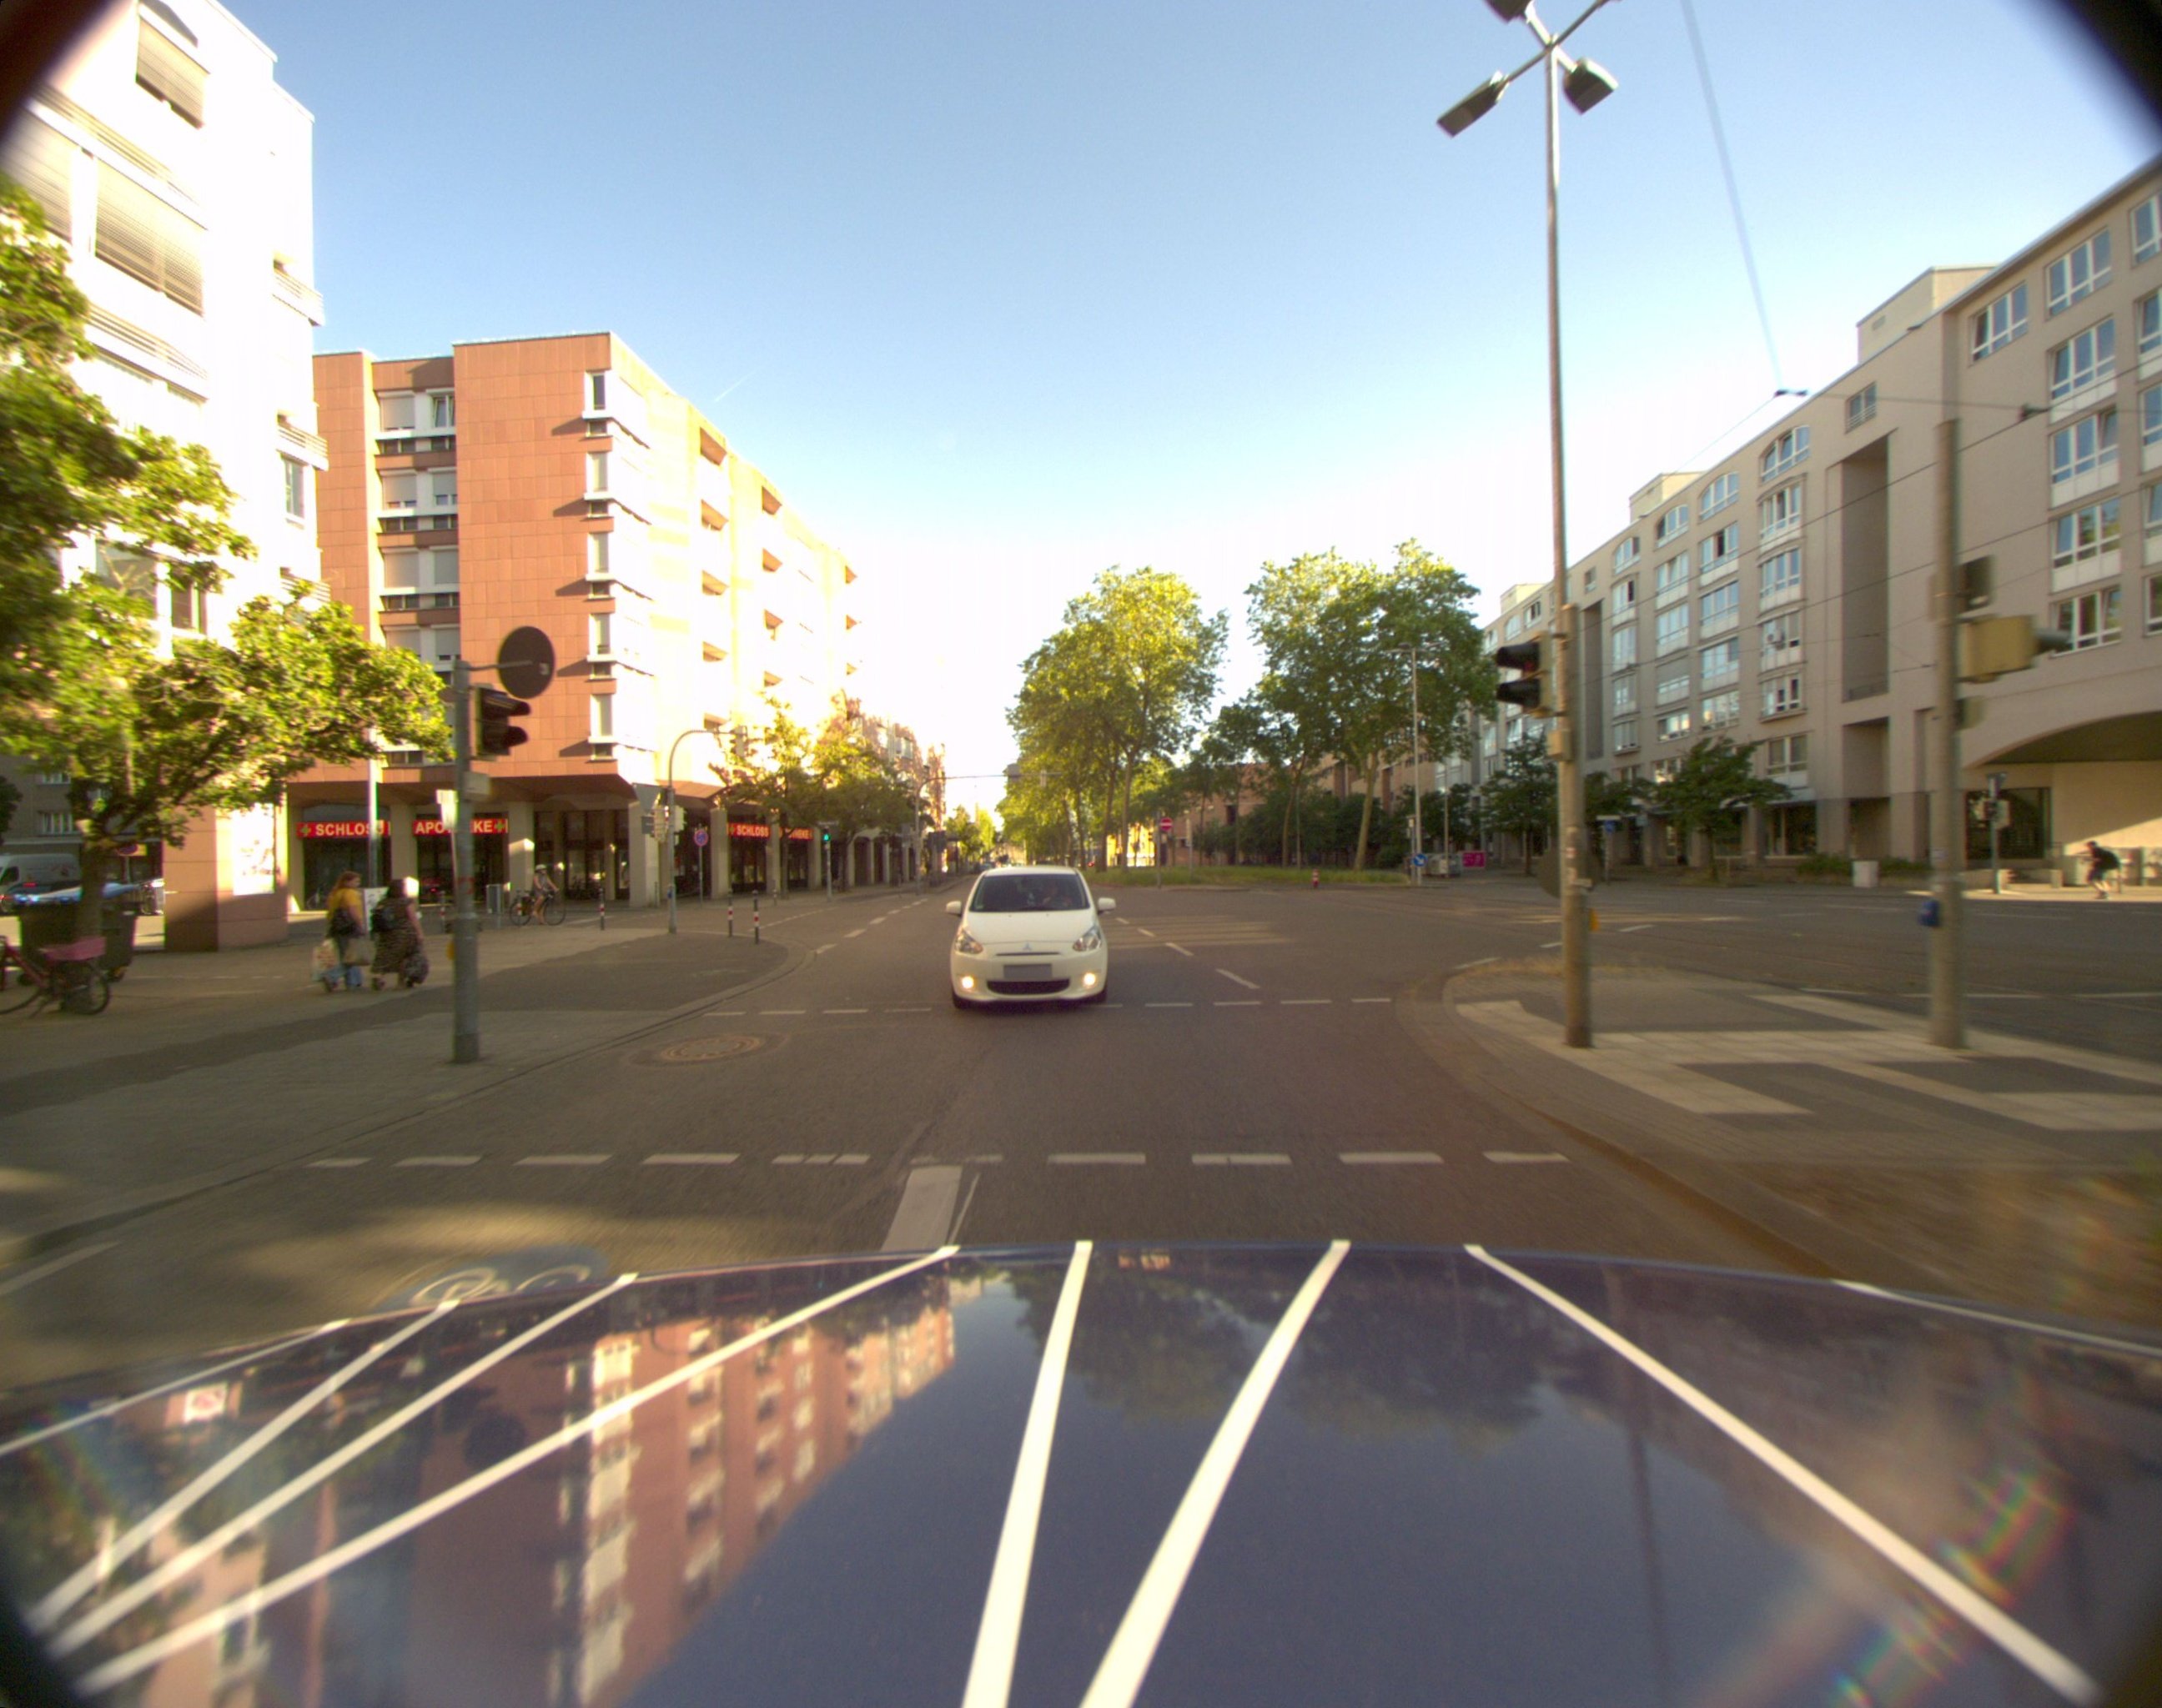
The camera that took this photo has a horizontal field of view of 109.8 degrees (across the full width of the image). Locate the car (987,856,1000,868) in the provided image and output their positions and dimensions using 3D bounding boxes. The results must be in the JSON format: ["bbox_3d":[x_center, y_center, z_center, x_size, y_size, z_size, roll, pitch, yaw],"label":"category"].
[{"bbox_3d":[-14.388,1.304,124.366,2.044,1.932,5.194,1,0,-7],"label":"car"}]

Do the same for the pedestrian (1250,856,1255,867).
[{"bbox_3d":[24.871,1.069,110.204,0.612,1.670,0.596,-1,0,-6],"label":"pedestrian"}]

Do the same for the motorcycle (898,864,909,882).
[{"bbox_3d":[-13.857,1.448,59.357,0.489,1.364,2.089,-1,0,-5],"label":"motorcycle"}]

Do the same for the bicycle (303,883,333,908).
[{"bbox_3d":[-31.688,1.711,31.566,1.314,1.014,0.613,-1,1,34],"label":"bicycle"}]

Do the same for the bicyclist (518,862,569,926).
[{"bbox_3d":[-15.137,1.114,21.429,0.827,1.760,0.788,-1,1,3],"label":"bicyclist"}]

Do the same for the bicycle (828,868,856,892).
[{"bbox_3d":[-12.742,1.374,40.557,0.623,1.218,1.927,-1,0,7],"label":"bicycle"}]

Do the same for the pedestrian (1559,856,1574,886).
[{"bbox_3d":[24.115,0.830,37.741,0.533,1.495,0.621,-1,1,41],"label":"pedestrian"}]

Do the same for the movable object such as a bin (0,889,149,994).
[{"bbox_3d":[-15.278,1.293,11.459,1.413,1.473,0.872,-1,1,6],"label":"movable object such as a bin"}]

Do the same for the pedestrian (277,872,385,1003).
[{"bbox_3d":[-10.427,1.132,10.593,0.702,1.723,0.767,-1,1,-6],"label":"pedestrian"}]

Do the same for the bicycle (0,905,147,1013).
[{"bbox_3d":[-12.533,1.259,9.253,1.571,1.220,0.577,-1,1,1],"label":"bicycle"}]

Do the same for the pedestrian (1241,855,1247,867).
[{"bbox_3d":[23.539,0.976,109.757,0.666,1.712,0.796,-1,0,-6],"label":"pedestrian"}]

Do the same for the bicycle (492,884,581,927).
[{"bbox_3d":[-15.352,1.443,21.446,1.919,1.106,0.803,-1,1,3],"label":"bicycle"}]

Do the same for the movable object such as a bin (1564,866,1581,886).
[{"bbox_3d":[23.978,1.088,37.104,0.511,0.948,0.540,-1,0,8],"label":"movable object such as a bin"}]

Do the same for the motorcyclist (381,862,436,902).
[{"bbox_3d":[-29.896,1.227,33.797,1.174,1.679,1.334,-2,1,-2],"label":"motorcyclist"}]

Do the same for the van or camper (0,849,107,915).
[{"bbox_3d":[-47.456,1.197,33.748,2.361,2.751,6.440,-1,0,-24],"label":"van or camper"}]

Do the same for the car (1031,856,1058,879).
[{"bbox_3d":[-2.774,1.001,57.547,1.825,1.630,3.998,-1,0,-5],"label":"car"}]

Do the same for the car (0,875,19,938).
[{"bbox_3d":[-31.496,1.477,20.188,4.194,1.712,1.802,-1,1,3],"label":"car"}]

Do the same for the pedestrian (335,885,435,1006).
[{"bbox_3d":[-9.525,1.225,10.427,0.646,1.569,0.748,-1,1,-2],"label":"pedestrian"}]

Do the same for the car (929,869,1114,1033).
[{"bbox_3d":[-0.621,0.987,9.629,1.721,1.442,4.424,-3,0,-1],"label":"car"}]

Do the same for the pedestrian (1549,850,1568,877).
[{"bbox_3d":[29.358,0.562,46.727,0.708,1.629,0.789,-1,1,6],"label":"pedestrian"}]

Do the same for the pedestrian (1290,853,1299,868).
[{"bbox_3d":[26.075,0.783,92.918,0.826,1.820,0.901,-1,0,-4],"label":"pedestrian"}]

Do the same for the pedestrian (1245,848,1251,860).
[{"bbox_3d":[24.148,0.013,110.076,0.666,1.607,0.756,-1,0,-6],"label":"pedestrian"}]

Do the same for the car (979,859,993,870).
[{"bbox_3d":[-13.823,1.500,111.150,1.707,1.475,4.247,0,0,-2],"label":"car"}]

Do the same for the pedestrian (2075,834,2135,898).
[{"bbox_3d":[30.278,0.347,22.469,0.858,1.858,0.751,-1,1,-11],"label":"pedestrian"}]

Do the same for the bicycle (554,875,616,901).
[{"bbox_3d":[-22.507,1.530,34.484,2.448,1.088,0.593,-1,1,3],"label":"bicycle"}]

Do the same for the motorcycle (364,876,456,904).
[{"bbox_3d":[-29.782,1.587,33.778,2.826,1.172,1.349,-1,0,-1],"label":"motorcycle"}]

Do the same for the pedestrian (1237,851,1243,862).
[{"bbox_3d":[23.324,0.323,111.579,0.666,1.607,0.756,-1,0,-6],"label":"pedestrian"}]

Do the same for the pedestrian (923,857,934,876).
[{"bbox_3d":[-13.768,1.139,68.624,0.783,1.728,0.837,-1,0,3],"label":"pedestrian"}]
